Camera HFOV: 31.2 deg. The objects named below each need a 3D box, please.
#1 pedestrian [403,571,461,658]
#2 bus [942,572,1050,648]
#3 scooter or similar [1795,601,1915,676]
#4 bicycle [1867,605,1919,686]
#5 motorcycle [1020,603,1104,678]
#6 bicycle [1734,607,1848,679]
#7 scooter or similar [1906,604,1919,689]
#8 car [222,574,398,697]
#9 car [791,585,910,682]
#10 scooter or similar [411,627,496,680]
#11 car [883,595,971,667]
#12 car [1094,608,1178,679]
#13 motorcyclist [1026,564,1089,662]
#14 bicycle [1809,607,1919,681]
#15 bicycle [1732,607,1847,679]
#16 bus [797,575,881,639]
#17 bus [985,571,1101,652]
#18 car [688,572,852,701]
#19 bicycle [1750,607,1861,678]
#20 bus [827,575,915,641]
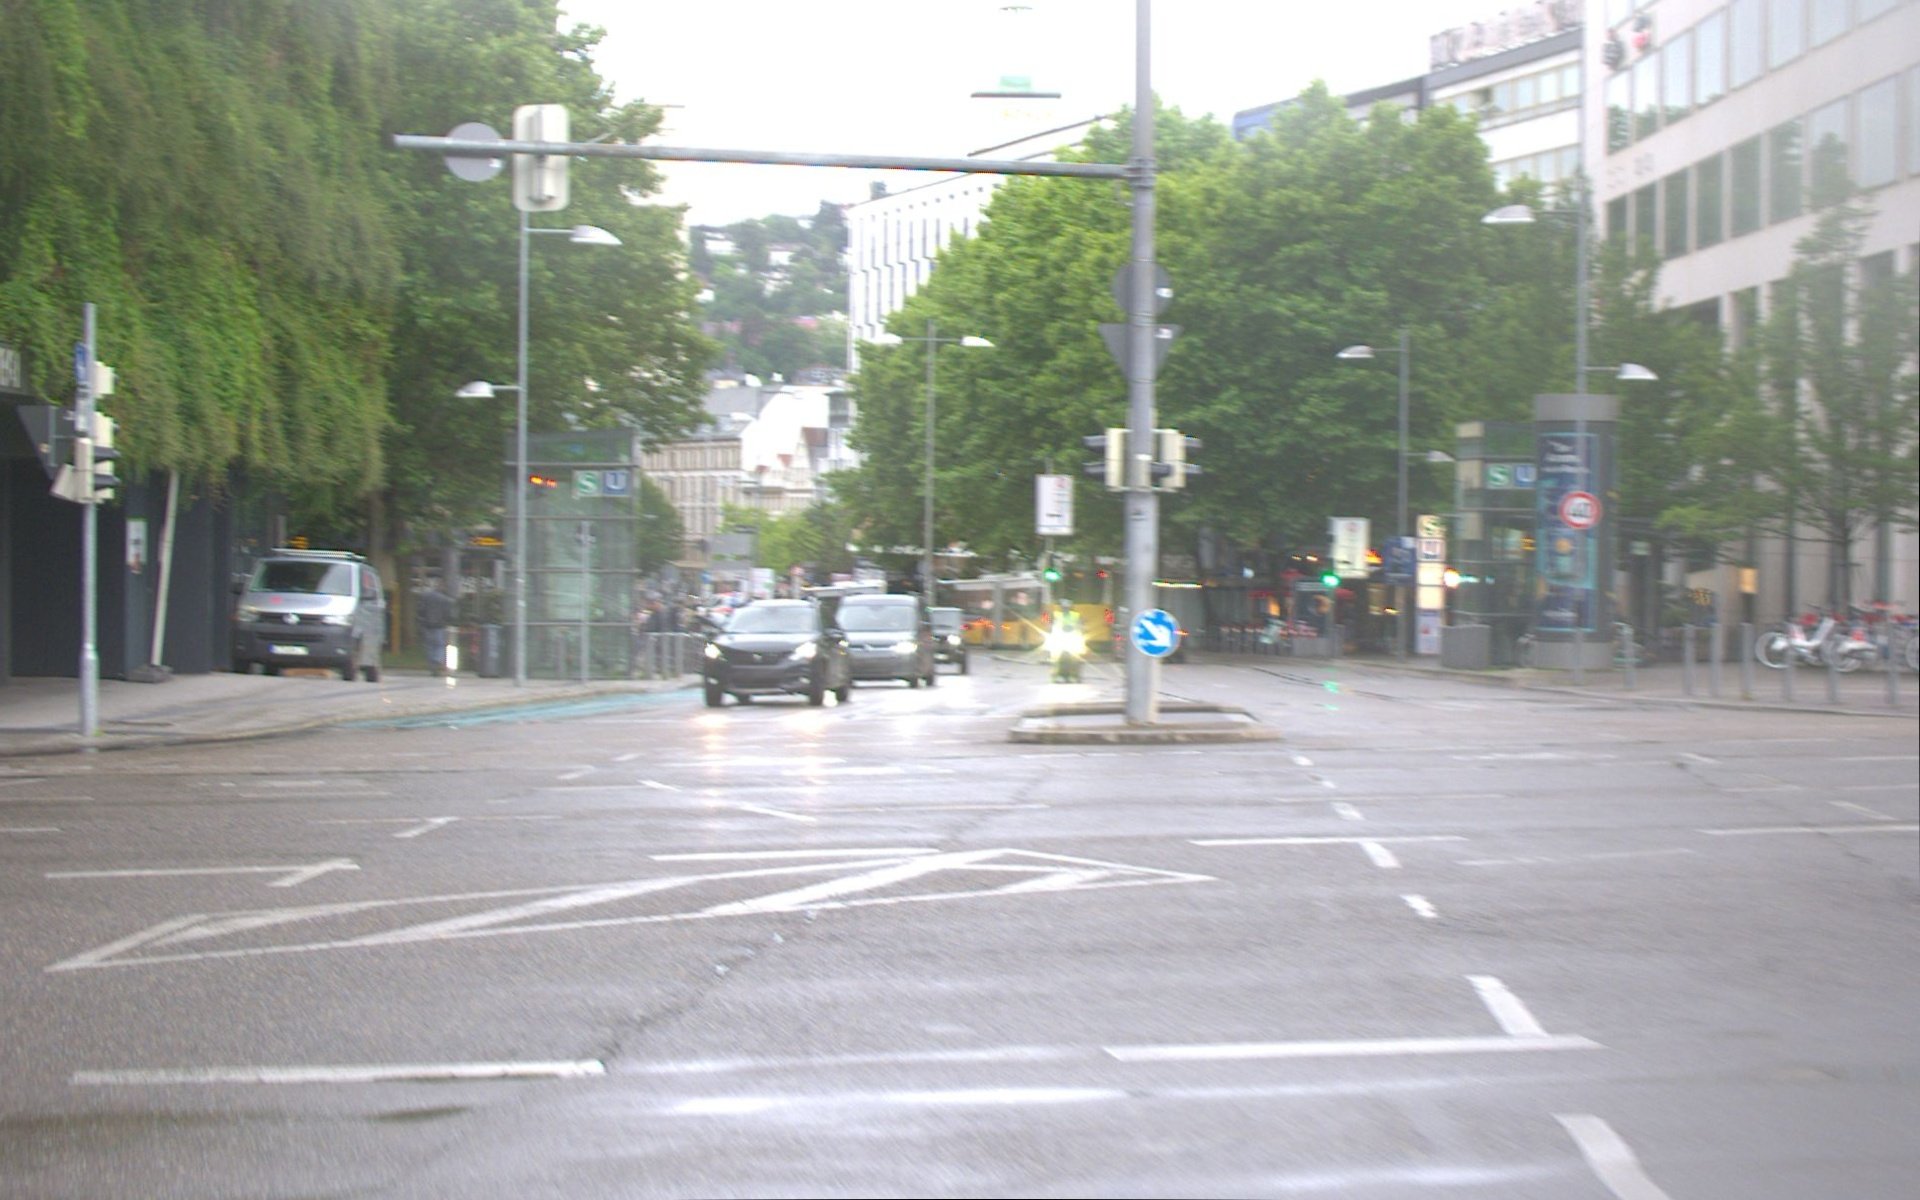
[{"bbox_3d":[-9.998,0.276,65.090,0.934,1.638,0.774,0,-1,2],"label":"pedestrian"},{"bbox_3d":[1.399,0.384,138.159,2.627,2.985,7.451,0,0,-13],"label":"bus"},{"bbox_3d":[14.416,0.623,55.404,1.778,1.190,0.586,0,-1,4],"label":"scooter or similar"},{"bbox_3d":[14.239,0.676,50.820,0.584,1.190,1.784,1,-1,-26],"label":"bicycle"},{"bbox_3d":[2.091,0.826,71.338,1.551,1.509,4.384,0,0,-1],"label":"motorcycle"},{"bbox_3d":[13.975,0.720,57.851,1.778,1.190,0.586,0,-1,4],"label":"bicycle"},{"bbox_3d":[13.931,0.659,48.595,0.963,1.190,0.454,0,-1,42],"label":"scooter or similar"},{"bbox_3d":[-10.128,0.544,53.824,1.870,1.833,4.000,0,0,2],"label":"car"},{"bbox_3d":[-2.053,0.629,65.778,2.164,1.759,5.112,0,0,-1],"label":"car"},{"bbox_3d":[-10.015,1.054,68.041,0.623,1.001,1.656,0,0,40],"label":"scooter or similar"},{"bbox_3d":[-0.863,0.784,87.782,2.164,1.759,5.112,0,0,-1],"label":"car"},{"bbox_3d":[5.103,1.260,100.193,1.543,2.007,4.669,1,0,-8],"label":"car"},{"bbox_3d":[2.037,0.275,71.674,1.261,2.007,0.905,0,-1,-1],"label":"motorcyclist"},{"bbox_3d":[14.796,0.715,56.010,1.778,1.190,0.586,0,-1,4],"label":"bicycle"},{"bbox_3d":[13.800,0.714,57.223,1.778,1.190,0.586,0,-1,4],"label":"bicycle"},{"bbox_3d":[-5.872,0.307,165.743,2.627,2.985,7.451,0,0,-13],"label":"bus"},{"bbox_3d":[3.101,0.403,130.932,2.627,2.985,7.451,0,0,-13],"label":"bus"},{"bbox_3d":[-2.709,0.520,50.069,2.164,1.759,5.112,0,0,-1],"label":"car"},{"bbox_3d":[14.443,0.730,58.748,1.778,1.190,0.586,0,-1,4],"label":"bicycle"},{"bbox_3d":[-4.165,0.341,158.565,2.627,2.985,7.329,0,0,-13],"label":"bus"}]
